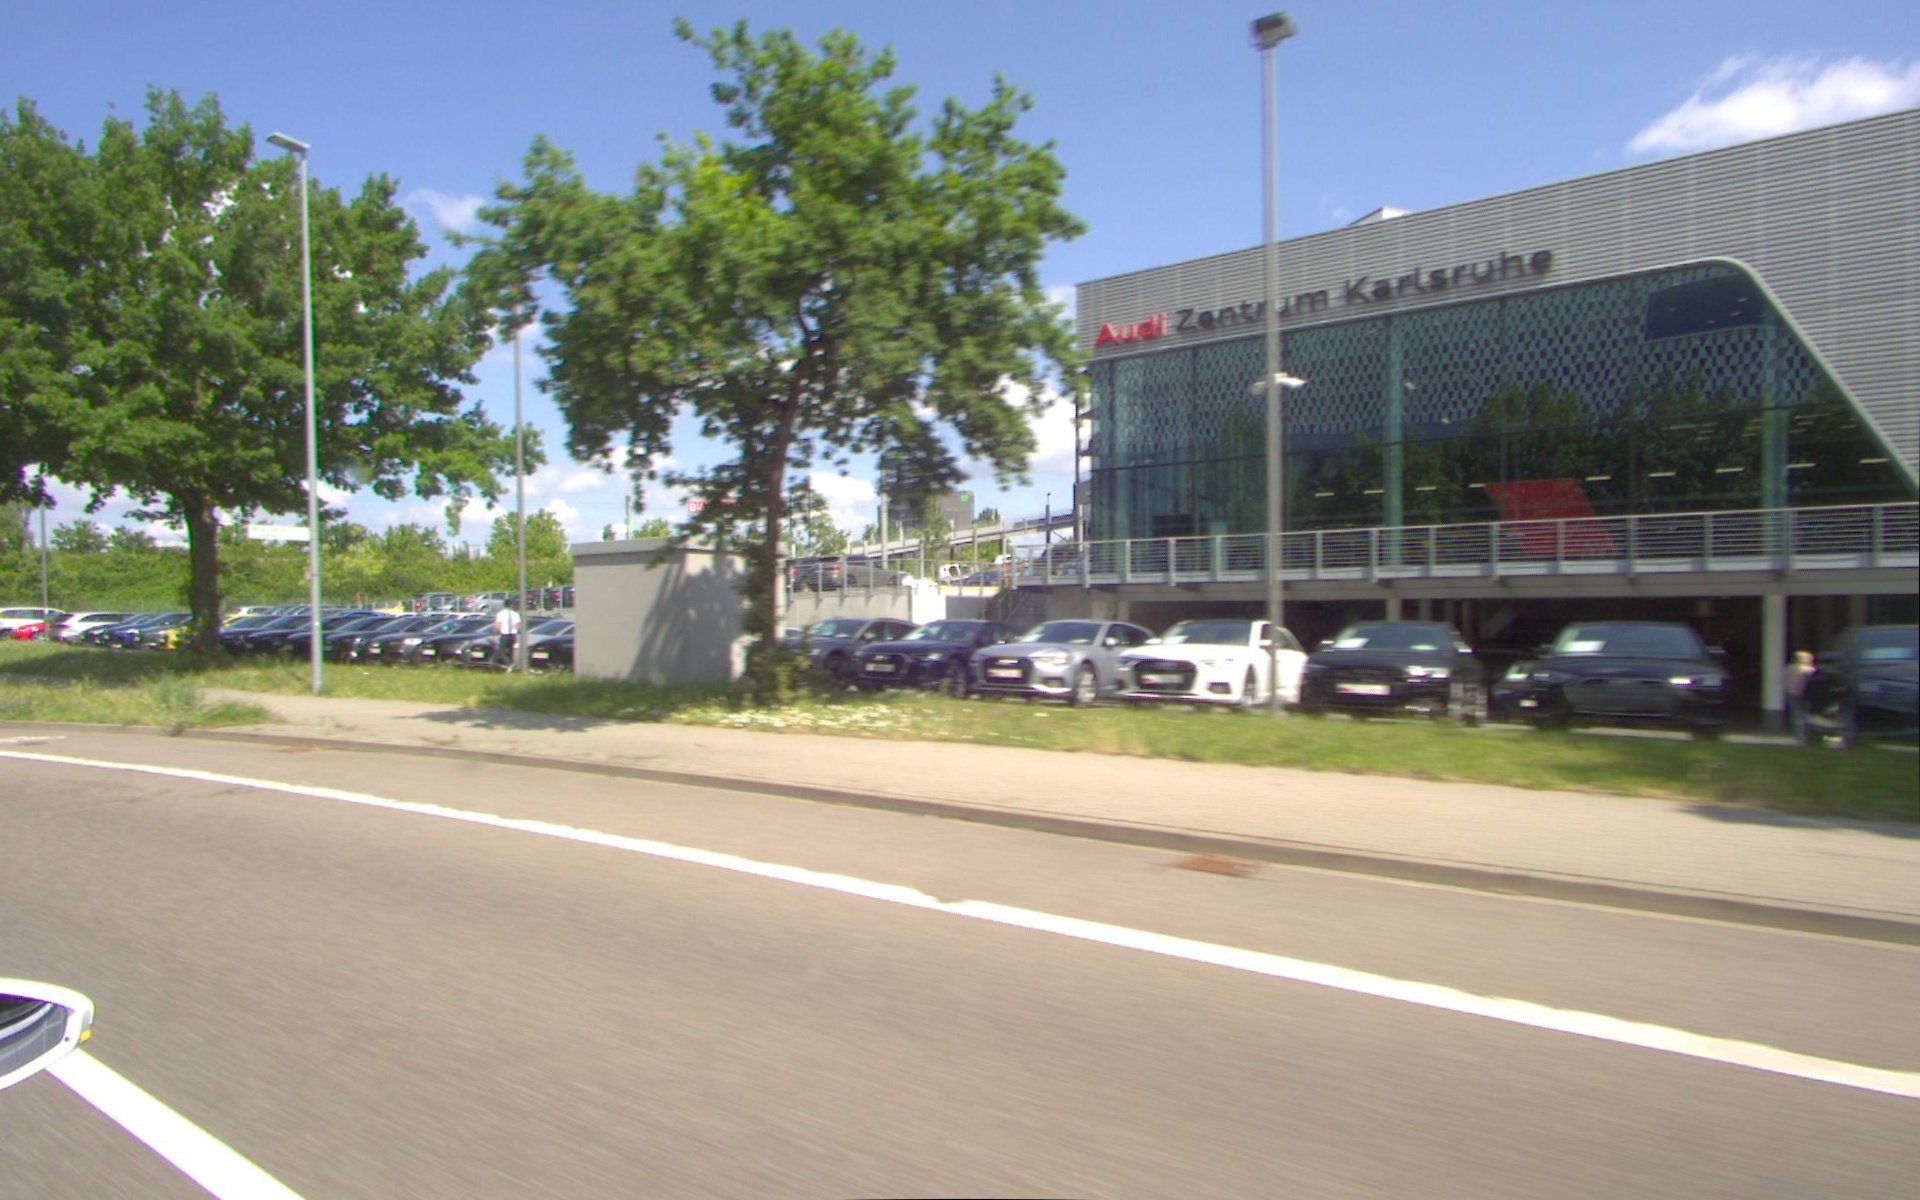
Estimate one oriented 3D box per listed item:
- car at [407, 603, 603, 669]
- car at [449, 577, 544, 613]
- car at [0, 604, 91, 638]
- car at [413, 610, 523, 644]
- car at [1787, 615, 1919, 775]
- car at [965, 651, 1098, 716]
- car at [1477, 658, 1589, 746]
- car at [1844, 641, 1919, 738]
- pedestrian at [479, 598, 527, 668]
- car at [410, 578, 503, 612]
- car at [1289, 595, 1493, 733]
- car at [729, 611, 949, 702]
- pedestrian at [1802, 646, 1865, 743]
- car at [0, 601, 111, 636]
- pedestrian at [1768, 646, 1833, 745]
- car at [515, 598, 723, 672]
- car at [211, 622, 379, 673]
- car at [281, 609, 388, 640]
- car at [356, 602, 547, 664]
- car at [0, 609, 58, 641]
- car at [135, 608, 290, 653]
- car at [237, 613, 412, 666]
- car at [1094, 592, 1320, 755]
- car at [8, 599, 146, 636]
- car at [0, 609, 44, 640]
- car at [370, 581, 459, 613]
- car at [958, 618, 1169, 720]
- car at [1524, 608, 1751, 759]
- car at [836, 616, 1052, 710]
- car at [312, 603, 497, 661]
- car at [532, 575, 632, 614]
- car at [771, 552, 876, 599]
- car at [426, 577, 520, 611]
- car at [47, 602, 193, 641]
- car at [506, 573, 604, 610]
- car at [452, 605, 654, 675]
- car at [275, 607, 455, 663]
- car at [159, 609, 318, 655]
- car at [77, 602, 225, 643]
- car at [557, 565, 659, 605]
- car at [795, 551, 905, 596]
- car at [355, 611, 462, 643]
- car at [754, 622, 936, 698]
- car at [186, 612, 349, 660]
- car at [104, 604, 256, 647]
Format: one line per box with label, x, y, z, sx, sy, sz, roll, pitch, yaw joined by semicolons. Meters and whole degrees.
car;-11.860;0.920;26.379;1.908;1.532;4.347;2;0;33
car;-25.291;-0.265;54.797;1.911;1.798;4.340;2;0;37
car;-44.608;1.009;47.829;1.908;1.532;4.347;2;0;33
car;-23.147;1.223;47.228;1.881;1.518;4.335;-1;-1;34
car;10.315;0.920;10.612;1.880;1.423;4.564;2;0;34
car;2.123;2.302;28.464;1.881;1.518;4.335;-1;-1;34
car;12.764;2.157;22.178;1.881;1.518;4.335;-1;-1;34
car;17.904;1.579;18.423;1.881;1.518;4.335;-1;-1;34
pedestrian;-10.027;0.715;21.961;0.761;1.479;0.632;2;1;33
car;-28.760;-0.272;57.330;1.911;1.798;4.340;2;0;37
car;6.006;0.952;13.635;1.761;1.530;4.344;2;-5;34
car;-2.203;0.995;19.399;1.830;1.532;4.343;-1;0;34
pedestrian;17.136;1.825;19.639;0.772;1.797;0.815;1;1;-43
car;-42.457;0.863;46.464;1.908;1.532;4.347;2;0;33
pedestrian;15.956;1.785;19.006;0.772;1.797;0.815;1;1;-43
car;-7.858;0.785;23.437;1.885;1.532;4.344;2;0;34
car;-22.395;1.550;33.869;1.908;1.532;4.347;2;0;33
car;-32.362;1.231;51.899;1.881;1.518;4.335;-1;-1;34
car;-13.963;0.894;27.720;1.908;1.532;4.347;2;0;33
car;-48.187;1.225;50.020;1.908;1.532;4.347;2;0;33
car;-28.315;1.144;38.052;1.908;1.532;4.347;2;0;33
car;-20.276;1.228;32.119;1.908;1.532;4.347;2;0;33
car;3.928;0.993;15.321;1.880;2.076;4.564;2;0;34
car;-40.127;0.805;45.601;1.908;1.532;4.347;2;0;33
car;-51.135;1.267;52.401;1.908;1.532;4.347;2;0;33
car;-33.263;-0.178;61.145;1.911;1.798;4.340;2;0;37
car;1.835;1.029;16.536;1.793;1.422;4.097;0;0;34
car;8.129;0.867;12.147;1.880;1.423;4.564;2;0;34
car;-0.154;1.037;17.822;1.830;1.464;4.097;0;-1;34
car;-16.164;0.919;29.351;1.908;1.532;4.347;2;0;33
car;-18.922;-0.236;50.241;1.911;1.798;4.340;2;0;37
car;-5.697;-0.994;42.248;1.911;1.798;4.340;2;0;37
car;-27.129;-0.314;55.913;1.911;1.798;4.340;2;0;37
car;-35.339;0.909;42.226;1.908;1.532;4.347;2;0;33
car;-20.908;-0.421;51.872;1.911;1.798;4.340;2;0;37
car;-9.970;0.949;24.869;1.908;1.532;4.347;2;0;33
car;-18.059;1.043;30.583;1.908;1.532;4.347;2;0;33
car;-26.351;1.160;36.723;1.908;1.532;4.347;2;0;33
car;-33.052;0.925;41.018;1.908;1.532;4.347;2;0;33
car;-17.105;-0.699;48.834;1.911;1.798;4.340;2;0;37
car;-4.353;-1.012;40.089;1.911;1.572;4.341;2;0;37
car;-27.639;1.317;50.285;1.881;1.518;4.335;-1;-1;34
car;-2.550;1.302;23.244;1.830;1.532;4.343;-1;0;34
car;-24.338;1.250;35.364;1.908;1.532;4.347;2;0;33
car;-30.619;0.987;39.457;1.908;1.532;4.347;2;0;33
